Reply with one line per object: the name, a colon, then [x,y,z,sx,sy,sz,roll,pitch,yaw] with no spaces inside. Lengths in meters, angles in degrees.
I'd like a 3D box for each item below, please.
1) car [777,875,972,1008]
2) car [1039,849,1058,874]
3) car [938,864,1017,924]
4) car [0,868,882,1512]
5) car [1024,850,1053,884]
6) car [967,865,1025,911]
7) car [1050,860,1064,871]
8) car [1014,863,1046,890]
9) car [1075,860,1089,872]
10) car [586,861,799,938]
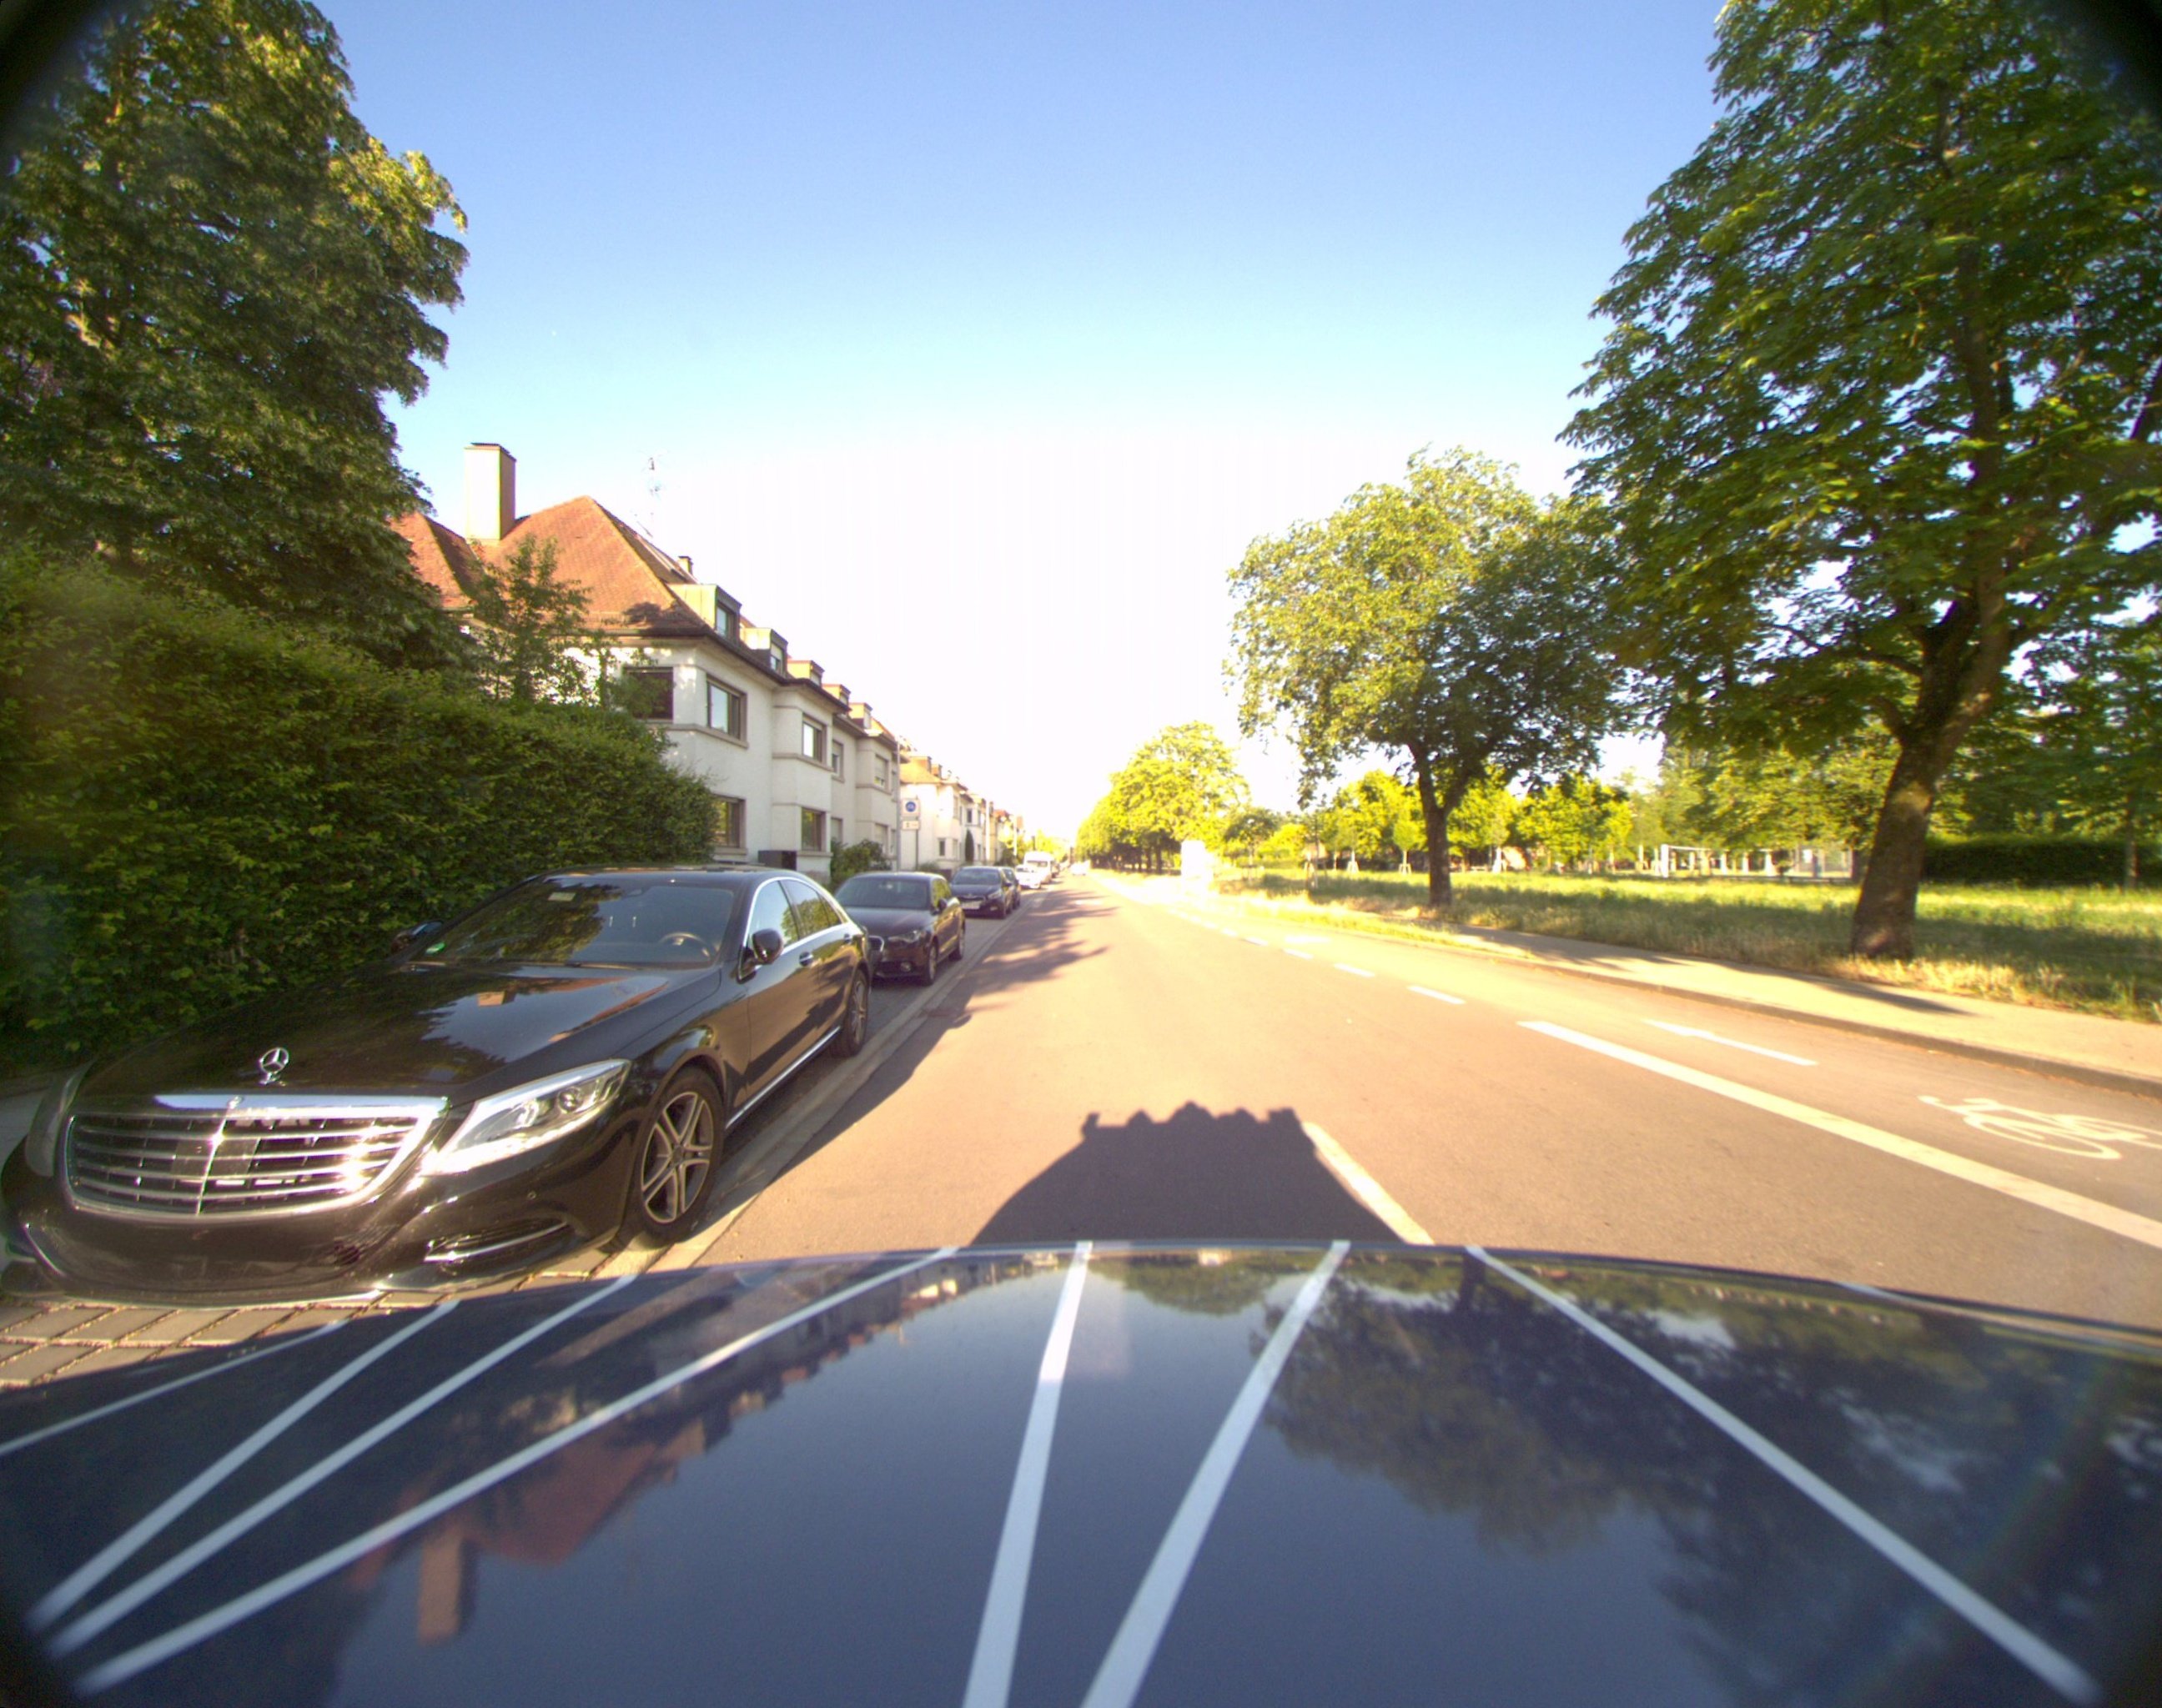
car: [-2.661,1.061,10.714,1.645,1.419,3.936,2,0,0]
car: [-3.808,0.911,90.239,2.134,2.837,5.987,0,0,-1]
car: [-2.922,1.086,22.233,1.751,1.466,4.255,3,0,-2]
car: [-2.626,0.901,4.344,1.864,1.533,4.872,1,0,-3]
car: [-3.293,0.964,59.617,2.135,2.503,5.507,1,0,-2]
car: [-3.004,1.165,27.565,1.723,1.463,3.983,2,0,-2]
car: [-3.673,1.815,116.660,1.974,1.630,4.000,2,-1,-1]
car: [-3.097,1.338,46.691,1.787,1.498,4.233,-1,0,-2]
car: [0.068,1.668,108.526,1.896,1.667,4.424,-1,0,-1]
car: [-8.225,0.935,16.377,3.644,1.487,1.780,2,0,-5]
